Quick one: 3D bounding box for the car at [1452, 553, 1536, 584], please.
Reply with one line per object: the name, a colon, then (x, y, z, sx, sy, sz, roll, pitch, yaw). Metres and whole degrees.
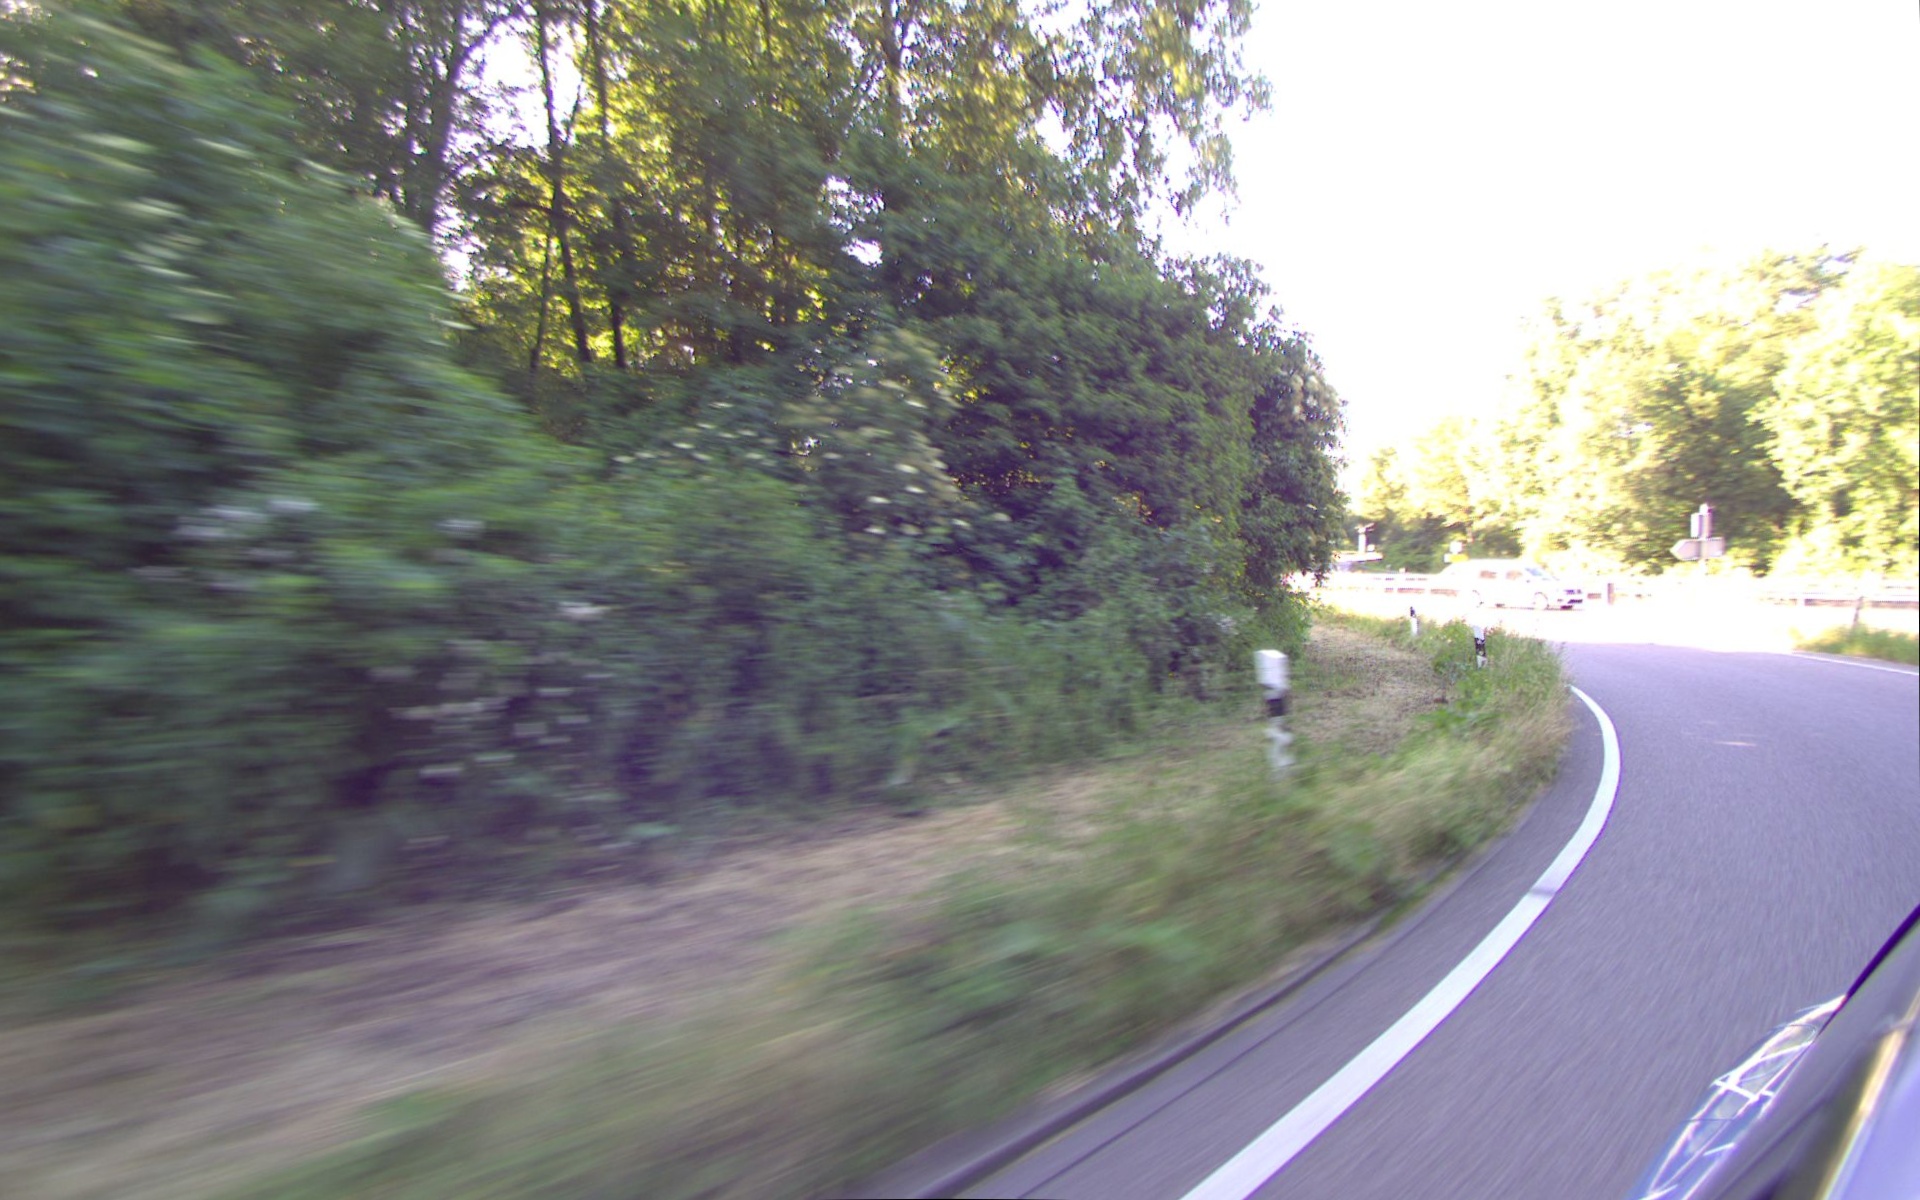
car: (29.199, -1.701, 55.456, 1.896, 1.642, 3.712, 0, 0, -24)

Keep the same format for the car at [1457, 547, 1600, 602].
car: (21.261, -0.916, 38.059, 1.897, 1.888, 4.358, -3, 1, -25)
